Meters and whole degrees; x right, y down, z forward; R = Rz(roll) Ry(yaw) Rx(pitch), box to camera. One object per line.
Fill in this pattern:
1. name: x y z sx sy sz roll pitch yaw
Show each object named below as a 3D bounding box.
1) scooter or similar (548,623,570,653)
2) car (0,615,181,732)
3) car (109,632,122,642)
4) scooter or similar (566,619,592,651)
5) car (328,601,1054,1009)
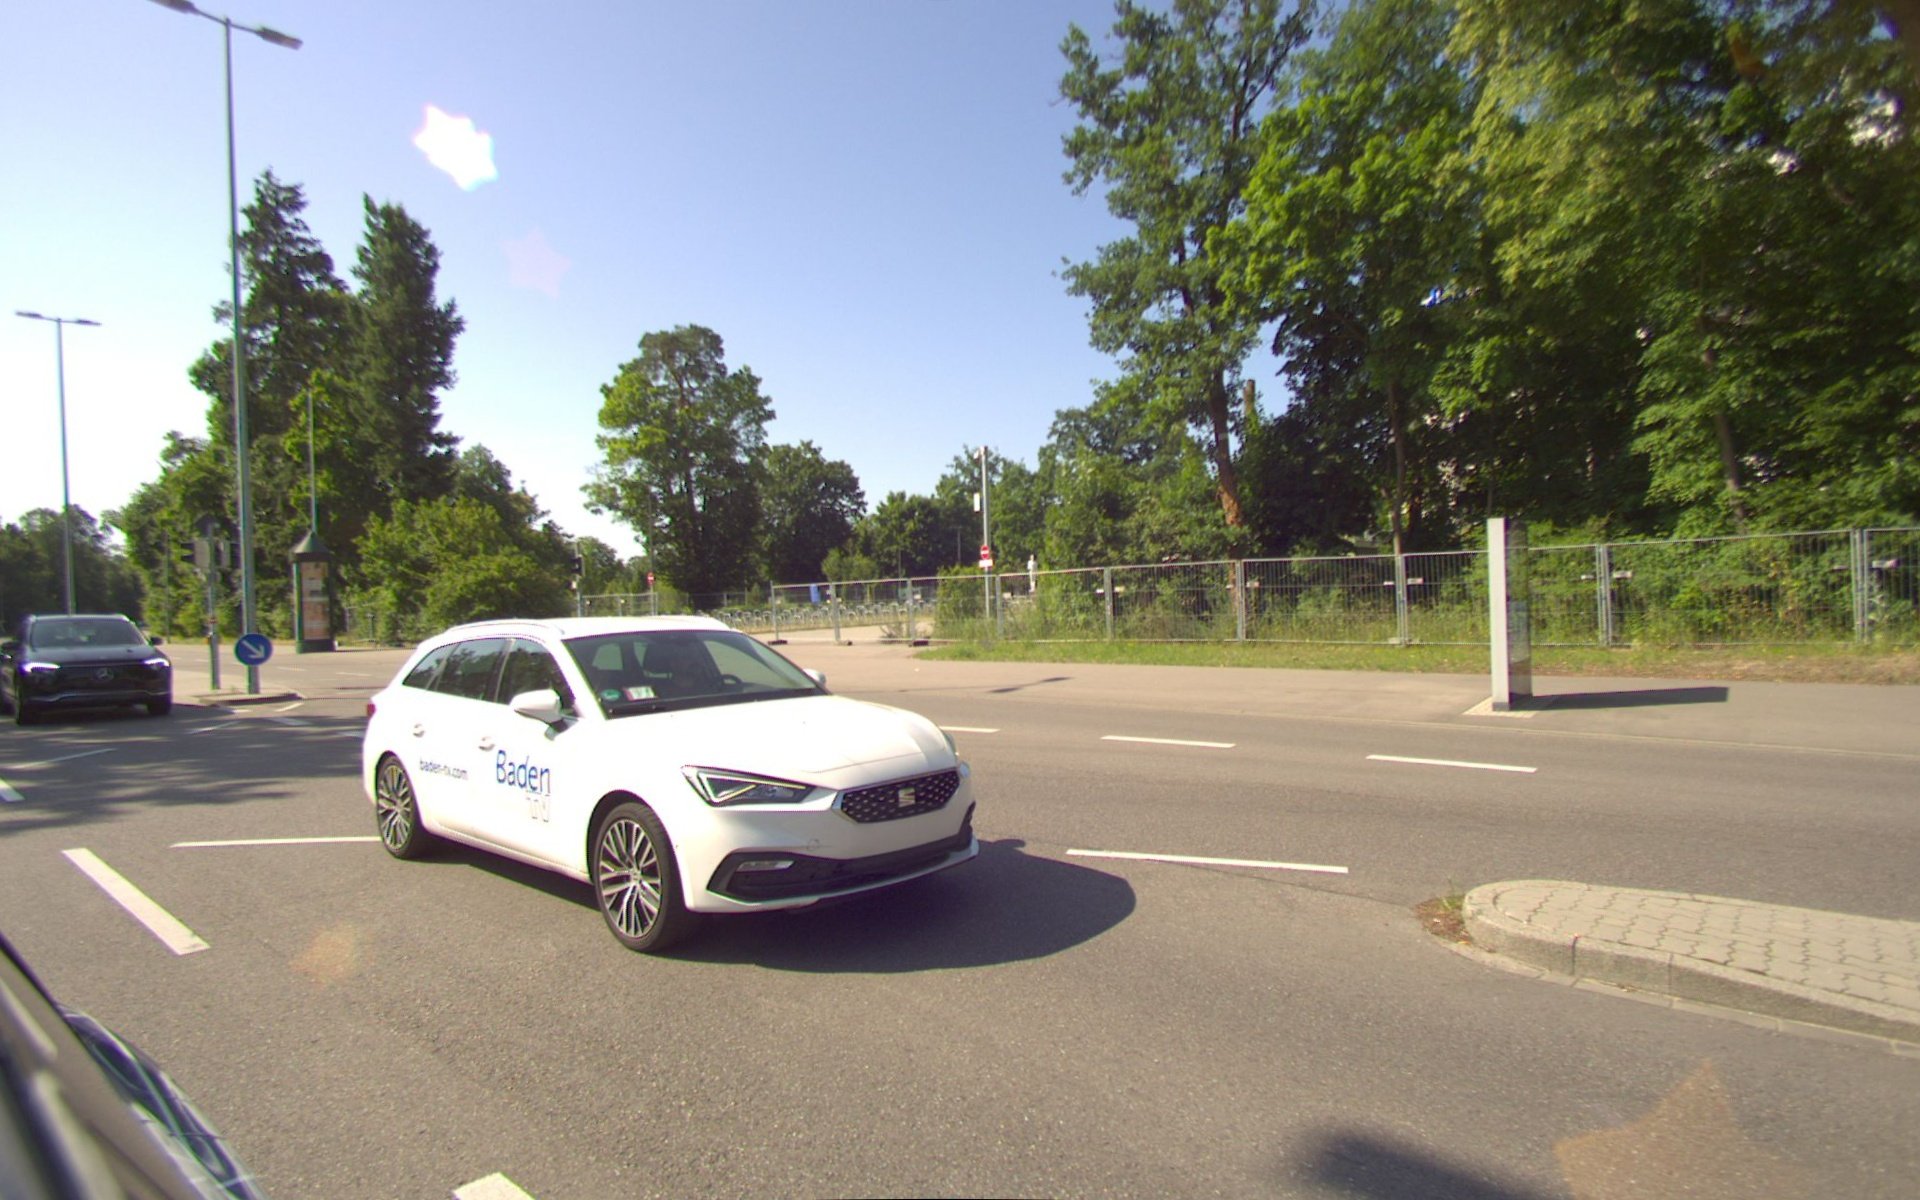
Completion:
1. scooter or similar: -15.893 1.492 40.111 0.390 1.154 1.198 -2 0 -43
2. car: -14.049 1.071 16.059 4.269 1.608 1.786 -2 -2 40
3. car: -161.542 7.116 193.663 1.849 1.874 4.007 -2 0 -39
4. scooter or similar: -15.294 1.385 40.641 0.393 1.231 1.075 -2 0 17
5. car: -1.881 0.797 5.814 4.718 1.437 1.707 -2 -1 42
